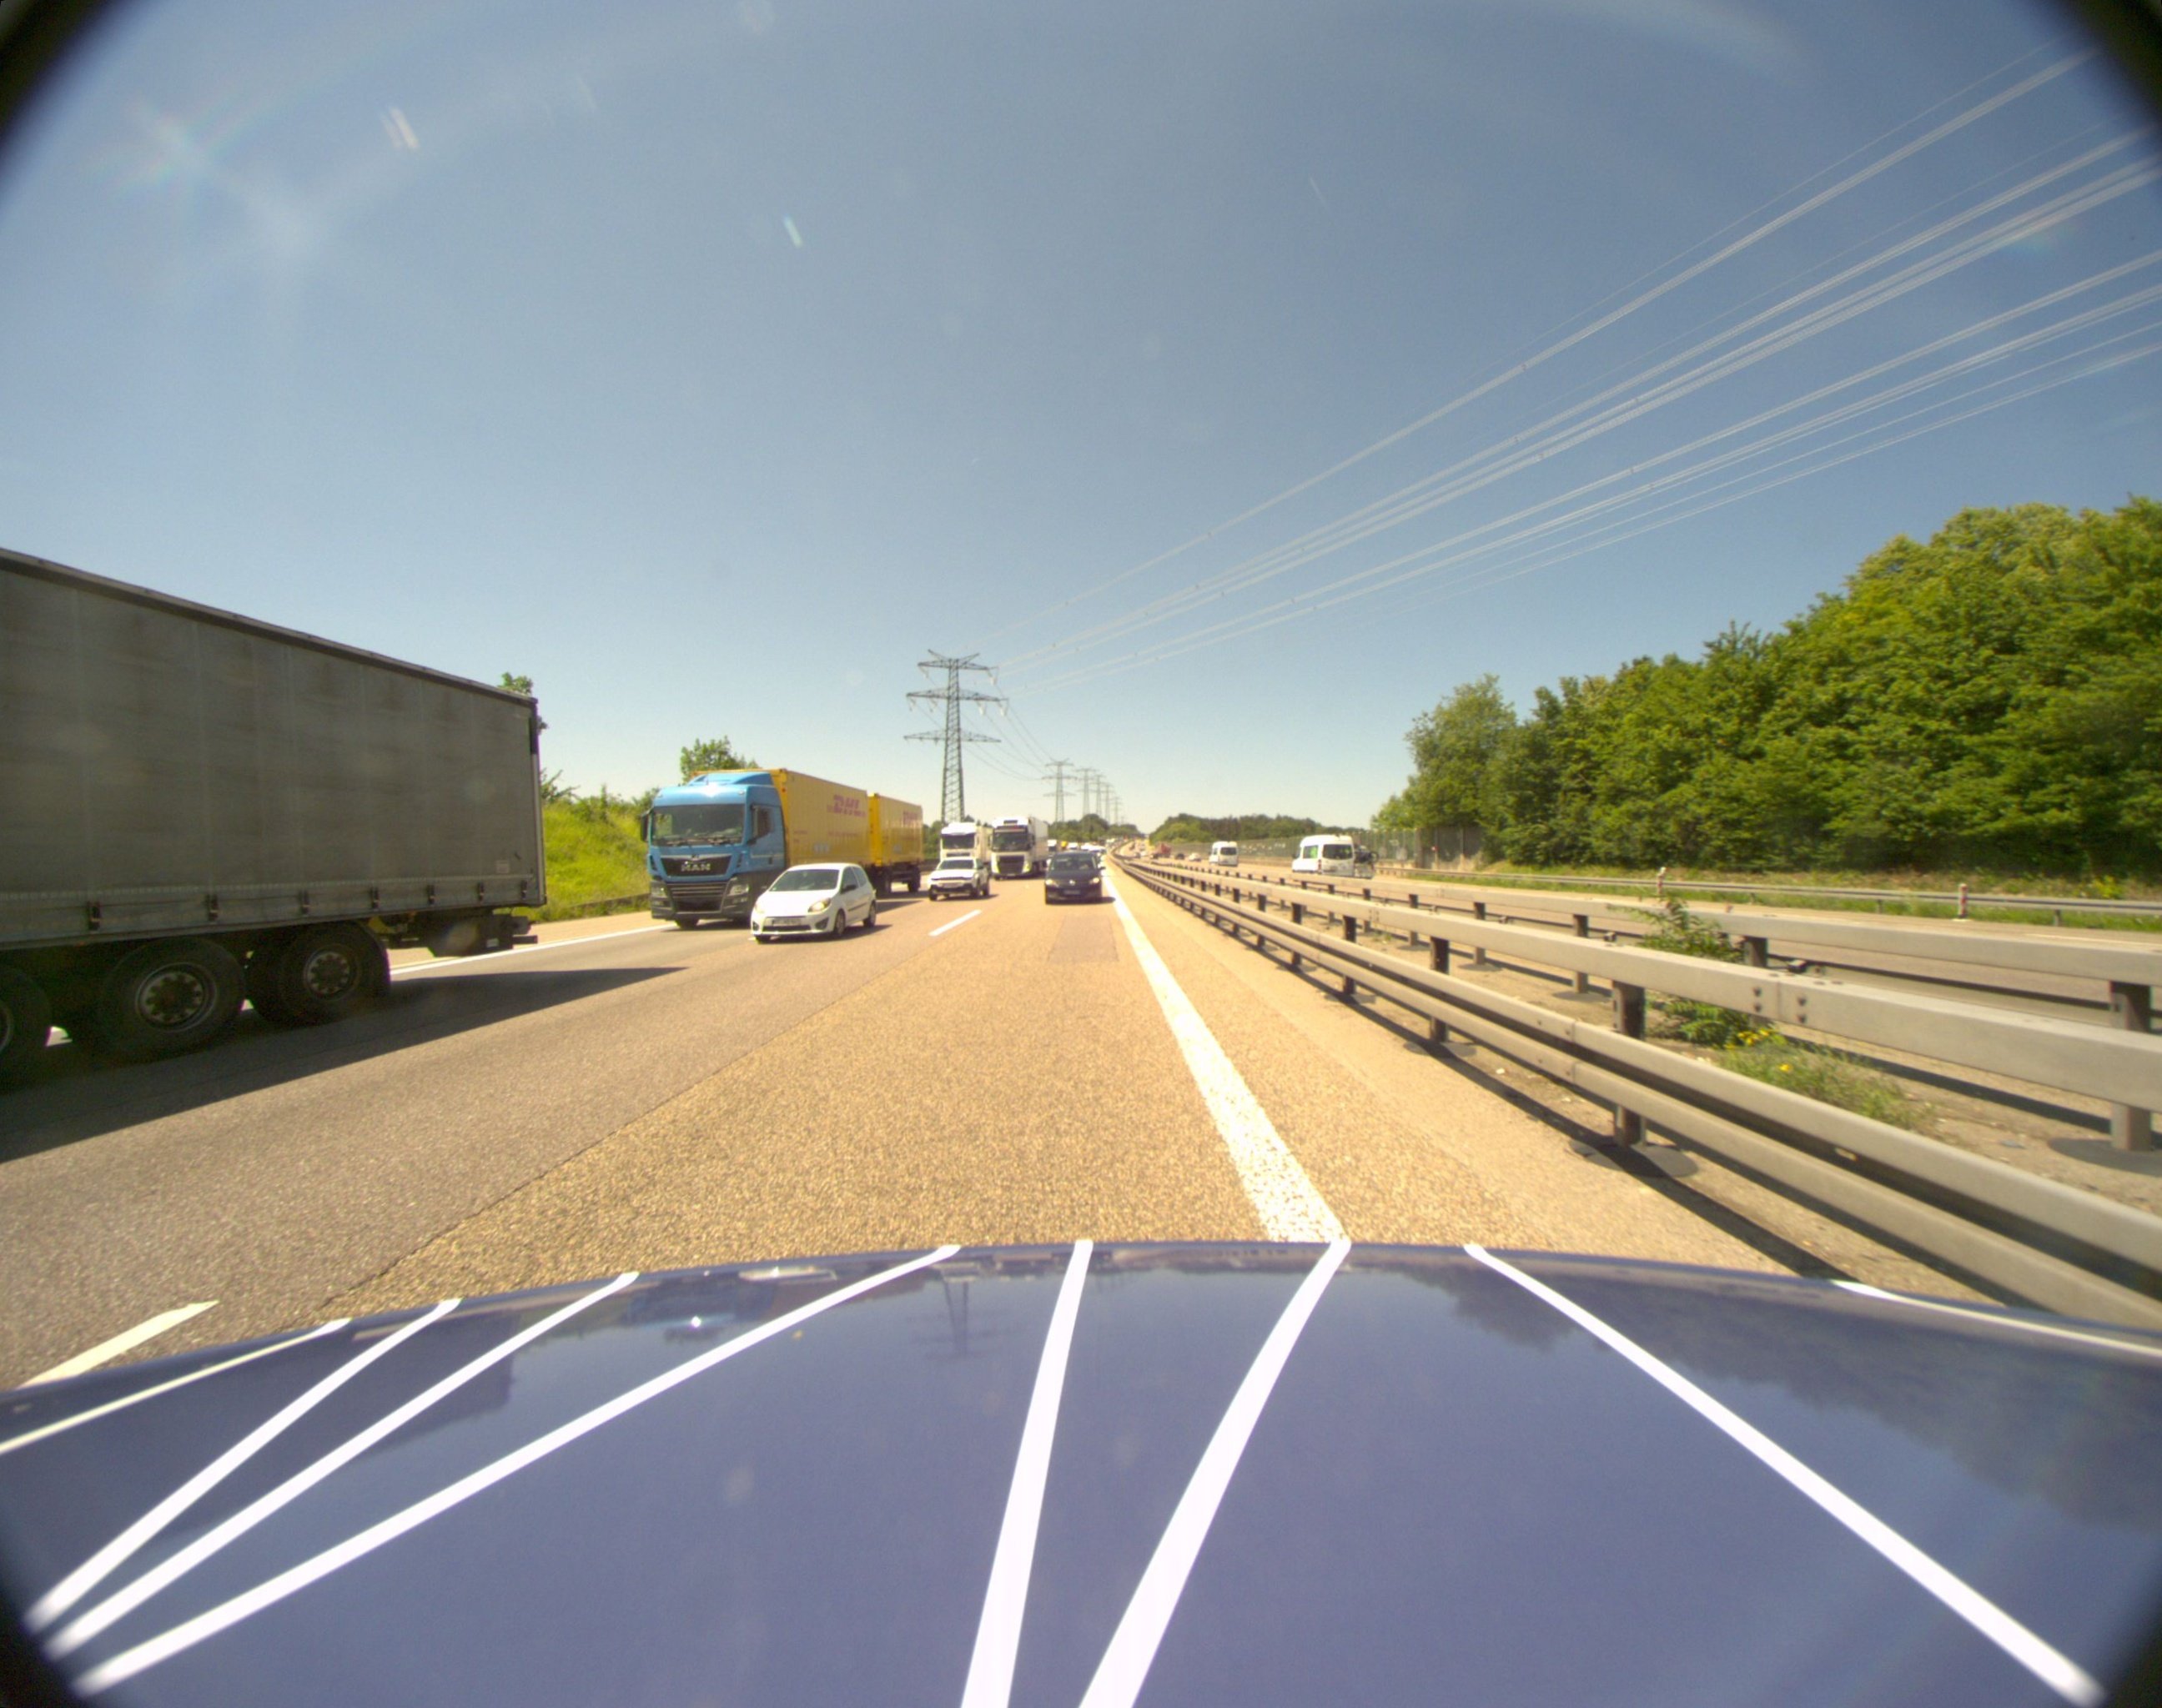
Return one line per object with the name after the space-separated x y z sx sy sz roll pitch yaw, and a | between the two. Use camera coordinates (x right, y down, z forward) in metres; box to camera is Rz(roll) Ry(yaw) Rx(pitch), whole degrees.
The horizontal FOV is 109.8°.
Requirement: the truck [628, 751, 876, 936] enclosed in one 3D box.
-8.766 -0.229 22.146 2.772 4.085 9.952 -2 0 0 | truck

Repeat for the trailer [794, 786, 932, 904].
-8.680 -0.305 31.757 2.772 4.093 9.377 -2 0 1 | trailer

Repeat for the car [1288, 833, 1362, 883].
13.356 0.134 42.036 2.161 2.579 5.889 0 1 0 | car

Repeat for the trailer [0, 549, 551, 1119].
-9.127 -0.102 3.879 2.970 4.026 13.751 -2 0 0 | trailer

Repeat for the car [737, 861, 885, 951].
-5.454 0.974 15.880 1.659 1.502 3.825 -2 1 1 | car

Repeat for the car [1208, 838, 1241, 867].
13.898 -0.181 73.989 2.058 2.636 5.838 3 1 0 | car

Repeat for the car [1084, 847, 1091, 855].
1.848 -0.911 217.225 1.998 2.002 3.999 -2 1 1 | car

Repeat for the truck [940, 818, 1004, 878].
-7.833 -0.441 56.145 2.695 3.908 11.296 -2 1 1 | truck

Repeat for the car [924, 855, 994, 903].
-4.406 0.877 28.083 1.776 1.521 3.851 -2 1 2 | car

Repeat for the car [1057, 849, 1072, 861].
-2.355 0.129 109.547 1.821 1.569 3.999 -2 1 1 | car

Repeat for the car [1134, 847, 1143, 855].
13.167 -0.697 174.051 1.778 1.621 3.950 -2 1 0 | car

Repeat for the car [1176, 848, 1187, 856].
21.944 -0.517 166.502 1.998 1.567 5.275 -2 1 3 | car

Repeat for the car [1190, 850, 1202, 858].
21.333 -0.016 140.931 1.689 1.447 4.346 1 1 3 | car

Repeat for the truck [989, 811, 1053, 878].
-3.936 -0.639 53.564 2.717 4.015 14.256 -2 0 2 | truck

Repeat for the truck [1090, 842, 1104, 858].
2.908 -0.710 134.262 2.309 2.789 5.109 -2 1 2 | truck

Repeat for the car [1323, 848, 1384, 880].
17.389 0.568 48.784 1.869 1.894 5.491 1 1 -1 | car

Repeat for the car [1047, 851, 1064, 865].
-3.166 0.448 93.506 1.821 1.569 3.999 -2 1 1 | car

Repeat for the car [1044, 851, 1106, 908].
-0.113 0.735 24.503 1.748 1.569 4.000 -2 1 2 | car

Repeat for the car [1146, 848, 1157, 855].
15.452 -0.602 166.785 1.881 1.438 4.144 -1 1 0 | car

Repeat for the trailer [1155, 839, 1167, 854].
21.472 -2.065 204.465 2.764 3.953 6.131 1 0 1 | trailer

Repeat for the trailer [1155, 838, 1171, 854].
21.360 -2.059 198.028 2.770 3.953 14.681 1 0 1 | trailer

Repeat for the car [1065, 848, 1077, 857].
-1.690 -0.284 131.130 1.821 1.569 3.999 -2 1 1 | car

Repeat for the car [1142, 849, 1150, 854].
18.391 -0.731 215.196 1.855 1.458 4.303 0 1 0 | car
